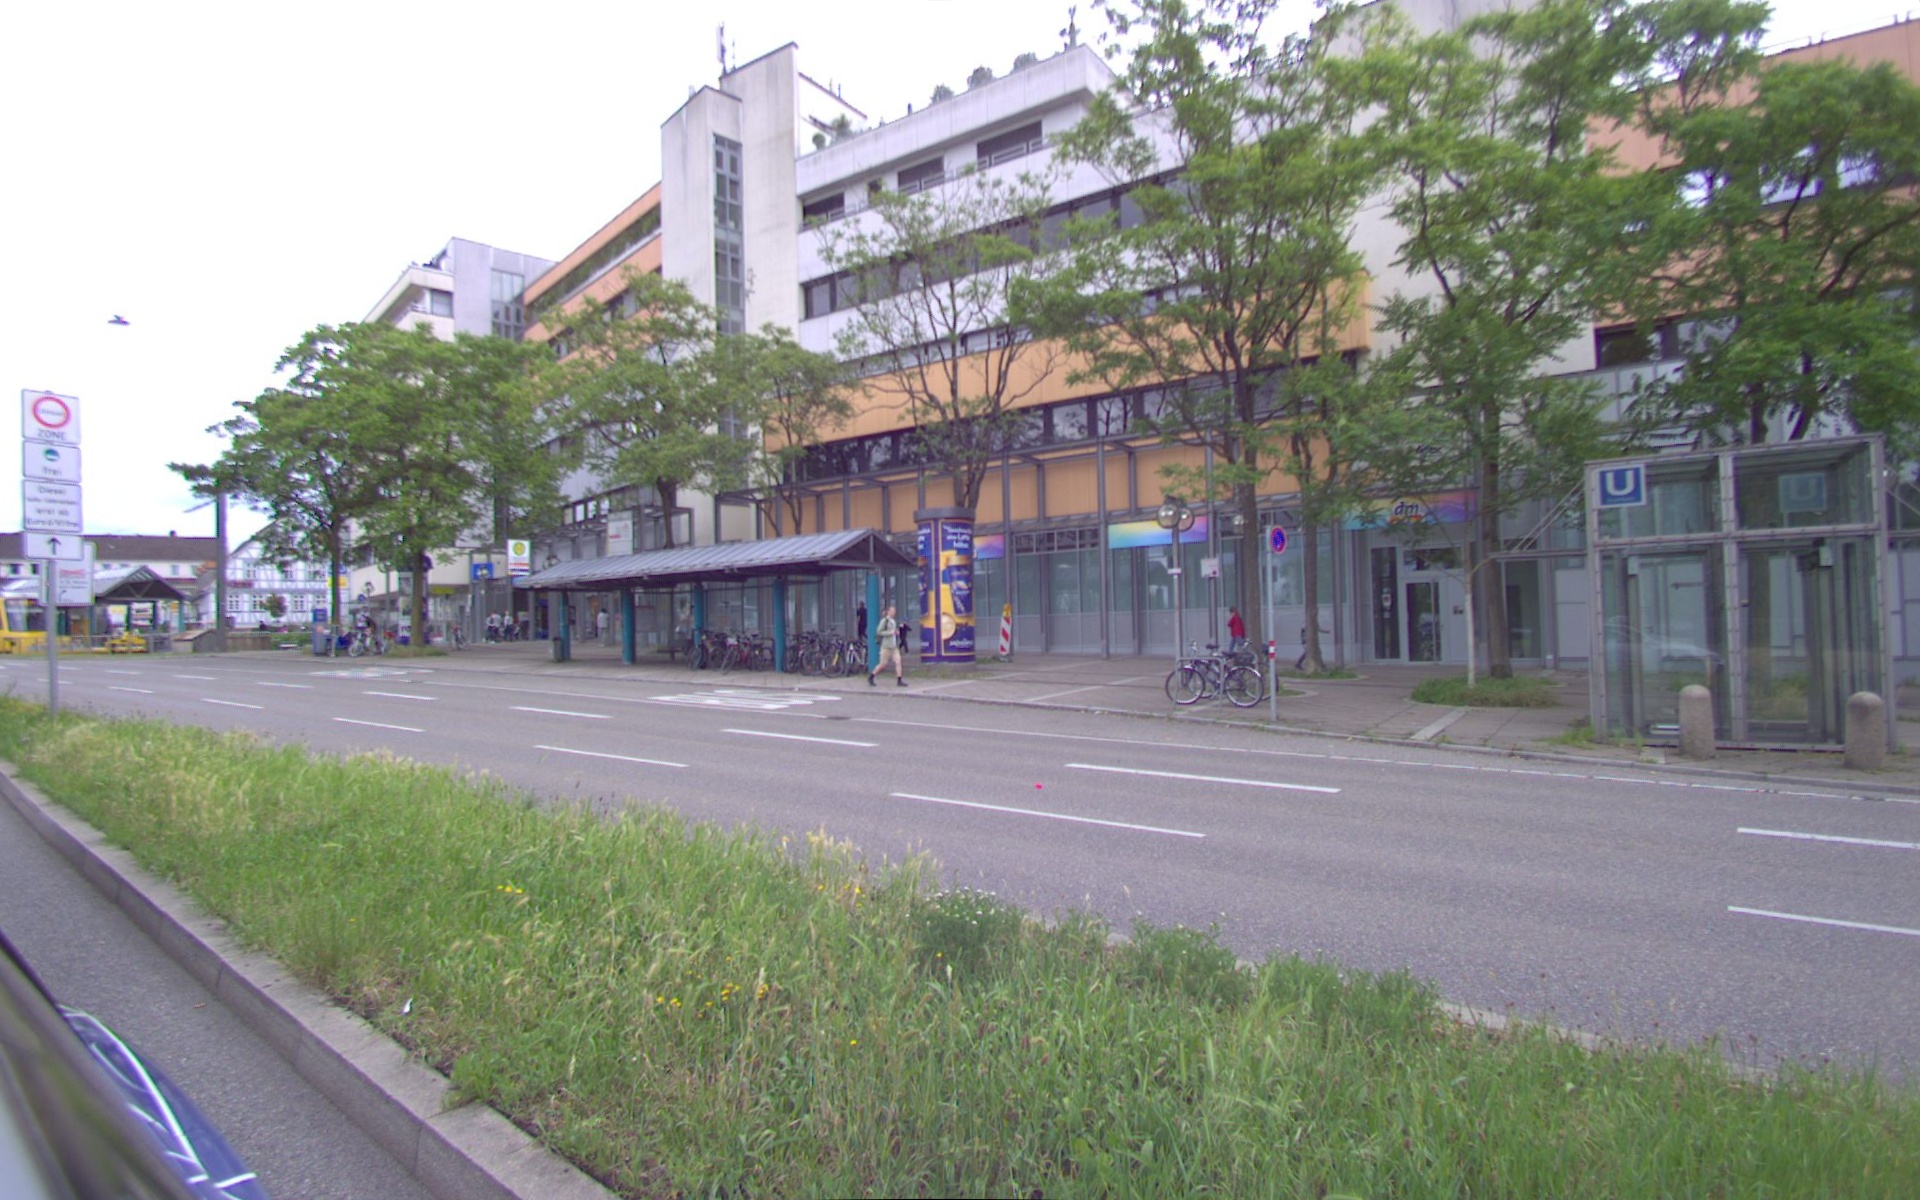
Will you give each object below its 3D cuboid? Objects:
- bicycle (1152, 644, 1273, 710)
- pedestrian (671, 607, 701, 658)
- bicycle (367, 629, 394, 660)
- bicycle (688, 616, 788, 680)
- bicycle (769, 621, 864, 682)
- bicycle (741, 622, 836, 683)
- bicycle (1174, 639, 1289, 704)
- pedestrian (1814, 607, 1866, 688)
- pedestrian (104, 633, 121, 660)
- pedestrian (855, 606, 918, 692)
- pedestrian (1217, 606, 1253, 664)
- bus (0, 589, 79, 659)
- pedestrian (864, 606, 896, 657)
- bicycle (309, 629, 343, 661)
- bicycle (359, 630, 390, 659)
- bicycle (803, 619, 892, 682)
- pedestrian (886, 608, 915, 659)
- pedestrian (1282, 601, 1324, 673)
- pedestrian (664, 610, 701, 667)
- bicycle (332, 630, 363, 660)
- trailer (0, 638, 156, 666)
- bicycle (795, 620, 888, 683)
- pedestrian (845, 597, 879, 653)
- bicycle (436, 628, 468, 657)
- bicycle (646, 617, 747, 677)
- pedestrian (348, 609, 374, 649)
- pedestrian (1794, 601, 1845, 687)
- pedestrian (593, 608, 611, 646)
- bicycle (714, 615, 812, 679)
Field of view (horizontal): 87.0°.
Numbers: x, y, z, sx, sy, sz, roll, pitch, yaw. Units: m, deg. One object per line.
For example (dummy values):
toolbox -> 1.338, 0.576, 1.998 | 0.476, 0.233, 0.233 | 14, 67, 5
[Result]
bicycle -> 4.436, 1.338, 17.825 | 1.926, 1.092, 0.825 | -2, -2, 27
pedestrian -> -9.734, 1.143, 35.978 | 0.763, 1.729, 0.789 | -2, 0, -32
bicycle -> -22.807, 1.755, 39.848 | 0.594, 1.170, 1.695 | 0, -2, -19
bicycle -> -6.089, 1.284, 27.921 | 0.888, 1.518, 2.877 | -2, 1, 32
bicycle -> -3.696, 1.307, 26.386 | 0.776, 1.518, 2.876 | -2, -2, 32
bicycle -> -4.527, 1.362, 26.966 | 0.803, 1.518, 2.876 | -2, -2, 32
bicycle -> 5.024, 1.301, 18.759 | 1.946, 1.145, 0.709 | -1, -2, 26
pedestrian -> 17.734, 0.958, 20.410 | 0.678, 1.601, 0.513 | -2, -2, 32
pedestrian -> -50.477, 2.783, 60.270 | 0.618, 1.585, 0.594 | -2, -2, 30
pedestrian -> -1.649, 1.075, 22.695 | 1.212, 1.836, 0.697 | -1, 1, 37
pedestrian -> 7.727, 0.983, 28.470 | 0.822, 1.598, 0.629 | -1, -2, 31
bus -> -60.502, 1.640, 61.708 | 19.255, 3.889, 3.851 | -2, -2, 29
pedestrian -> -2.569, 1.004, 32.424 | 0.705, 1.595, 0.660 | -2, 0, 35
bicycle -> -25.031, 1.773, 39.975 | 0.594, 1.170, 1.971 | -2, 0, -17
bicycle -> -23.720, 1.809, 40.997 | 1.966, 1.170, 0.596 | -3, -3, 44
bicycle -> -2.828, 1.260, 25.759 | 0.597, 1.518, 2.876 | -2, -2, 32
pedestrian -> -1.937, 1.093, 32.998 | 0.621, 1.612, 0.627 | -2, 0, 35
pedestrian -> 8.549, 0.904, 25.208 | 0.787, 1.729, 0.764 | -2, 0, 32
pedestrian -> -8.636, 1.198, 31.508 | 0.705, 1.725, 0.768 | -2, 0, 35
bicycle -> -24.159, 1.771, 39.931 | 0.594, 1.170, 1.971 | 0, -2, -18
trailer -> -47.098, 2.771, 53.472 | 12.072, 1.343, 2.822 | -2, -2, 29
bicycle -> -2.986, 1.287, 25.878 | 0.698, 1.518, 2.876 | -2, -2, 32
pedestrian -> -3.607, 0.927, 37.305 | 0.932, 2.029, 0.888 | -1, -2, 36
bicycle -> -21.391, 1.791, 42.619 | 0.663, 1.170, 2.023 | -1, -2, -11
bicycle -> -7.412, 1.303, 28.667 | 0.969, 1.518, 2.877 | -2, 0, 32
pedestrian -> -28.138, 1.364, 47.550 | 0.871, 1.891, 0.738 | -2, -2, 32
pedestrian -> 17.849, 0.910, 21.026 | 0.678, 1.740, 0.560 | -2, -2, 32
pedestrian -> -15.530, 1.173, 43.897 | 0.623, 1.612, 0.625 | -2, 0, -25
bicycle -> -5.300, 1.238, 27.473 | 0.809, 1.518, 2.876 | -2, 1, 33
